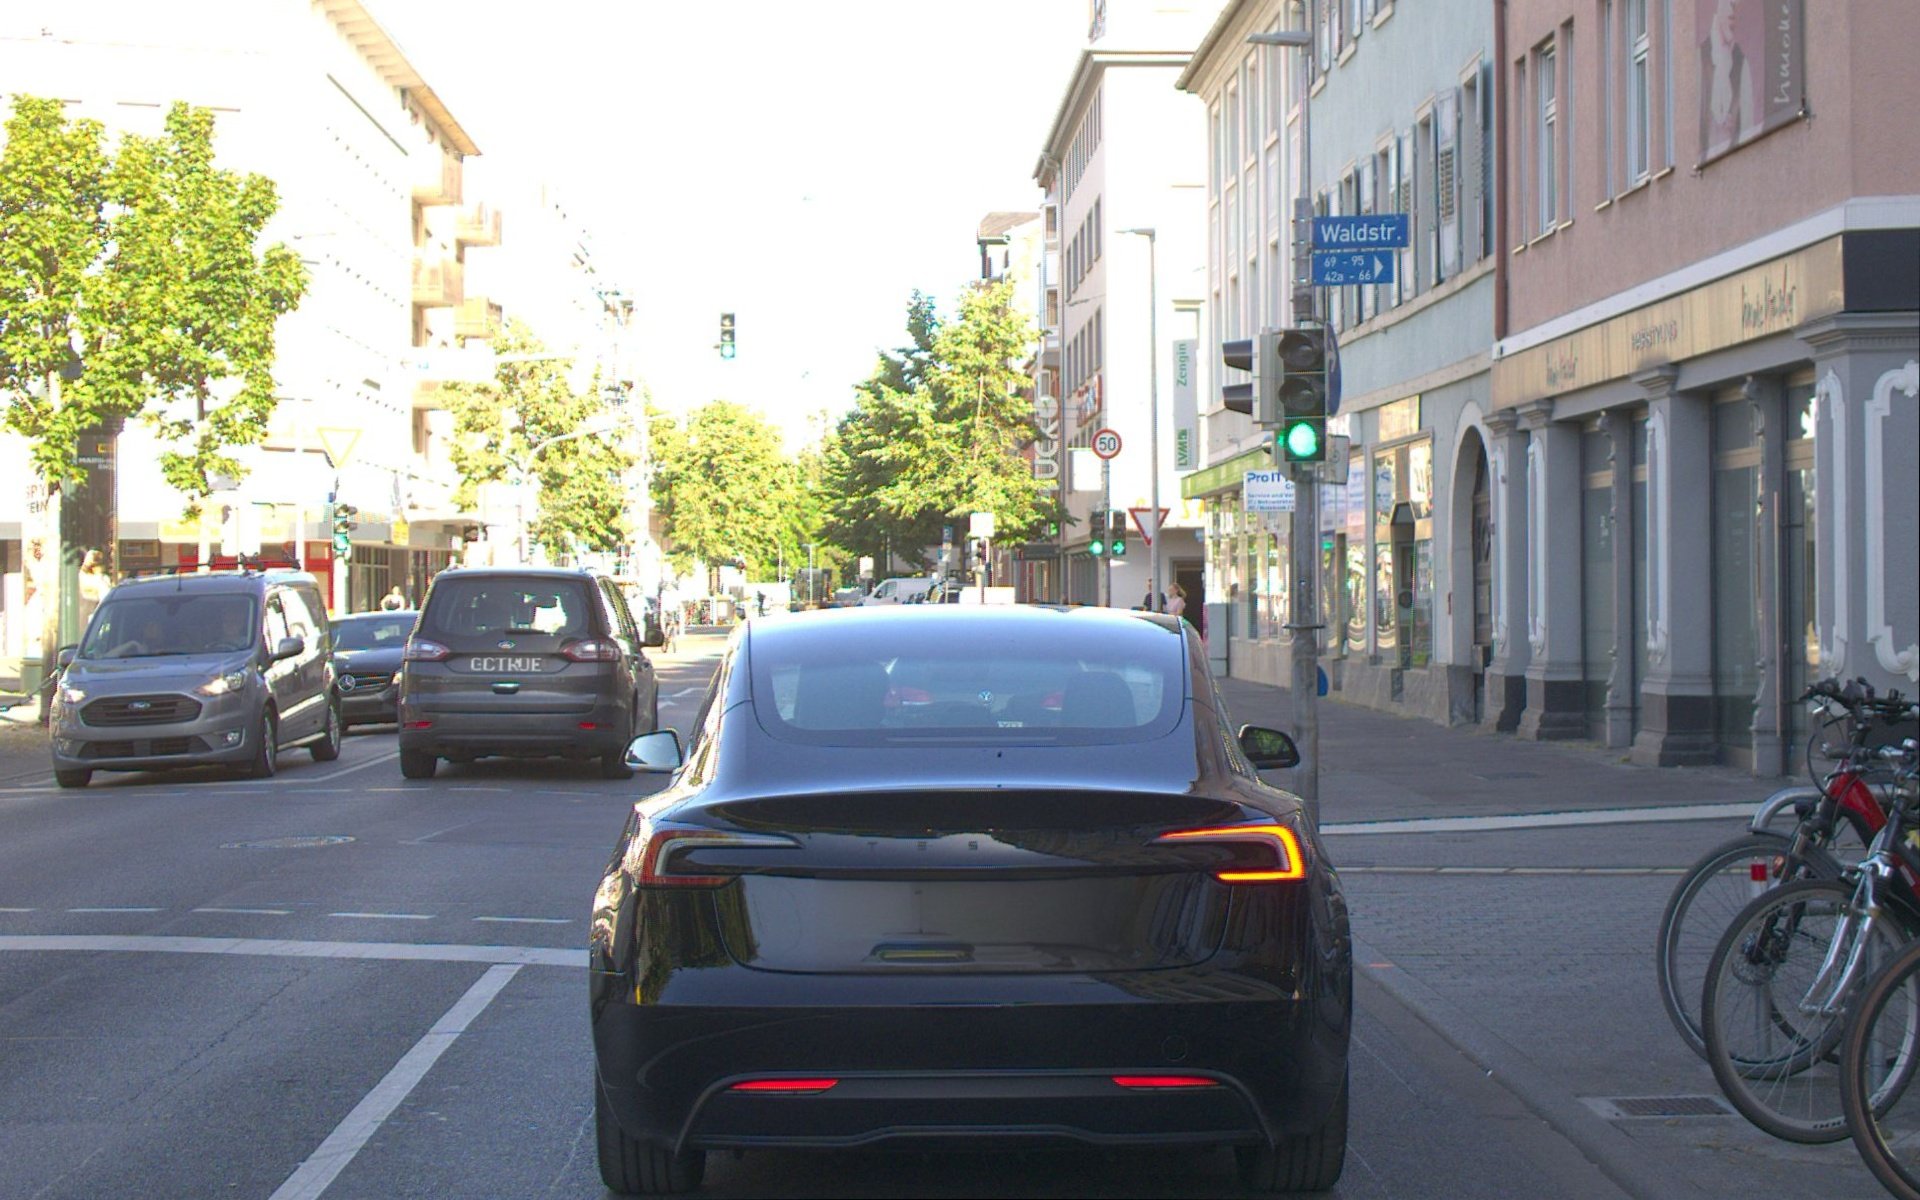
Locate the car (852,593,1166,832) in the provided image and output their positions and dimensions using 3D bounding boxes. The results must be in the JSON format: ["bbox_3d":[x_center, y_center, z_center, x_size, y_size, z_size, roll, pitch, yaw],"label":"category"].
[{"bbox_3d":[0.250,0.721,24.176,1.993,1.507,4.175,1,0,-2],"label":"car"}]

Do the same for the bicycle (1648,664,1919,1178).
[{"bbox_3d":[2.757,0.805,9.012,1.746,1.262,0.781,-1,0,3],"label":"bicycle"}]

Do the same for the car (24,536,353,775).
[{"bbox_3d":[-6.689,0.433,30.308,1.834,1.838,4.674,-3,0,-1],"label":"car"}]

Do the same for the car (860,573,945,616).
[{"bbox_3d":[-2.722,-0.281,162.920,3.986,2.007,2.000,0,0,-2],"label":"car"}]

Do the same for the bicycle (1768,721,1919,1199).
[{"bbox_3d":[2.825,0.841,7.833,1.798,1.120,0.781,-1,0,5],"label":"bicycle"}]

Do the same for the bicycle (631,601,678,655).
[{"bbox_3d":[-8.052,0.730,90.872,1.111,1.340,4.001,1,0,-3],"label":"bicycle"}]

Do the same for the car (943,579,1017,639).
[{"bbox_3d":[0.534,0.249,96.015,1.993,1.623,4.000,0,0,-1],"label":"car"}]

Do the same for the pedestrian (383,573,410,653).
[{"bbox_3d":[-14.358,0.325,87.554,0.574,2.007,0.828,1,0,-5],"label":"pedestrian"}]

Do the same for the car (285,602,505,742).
[{"bbox_3d":[-6.566,0.798,40.414,1.993,1.405,4.674,-3,1,-3],"label":"car"}]

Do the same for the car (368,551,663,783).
[{"bbox_3d":[-3.605,0.496,28.689,1.993,1.766,4.729,0,0,-2],"label":"car"}]

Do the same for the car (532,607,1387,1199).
[{"bbox_3d":[-0.027,0.753,9.457,1.848,1.450,4.000,0,0,-1],"label":"car"}]

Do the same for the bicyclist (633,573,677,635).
[{"bbox_3d":[-8.064,0.115,90.963,1.126,1.623,0.965,1,0,-3],"label":"bicyclist"}]

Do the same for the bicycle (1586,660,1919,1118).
[{"bbox_3d":[2.824,0.812,10.042,1.862,1.253,0.832,-1,0,5],"label":"bicycle"}]

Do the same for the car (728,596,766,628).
[{"bbox_3d":[-11.294,0.630,182.413,1.993,1.631,4.000,0,0,-3],"label":"car"}]
